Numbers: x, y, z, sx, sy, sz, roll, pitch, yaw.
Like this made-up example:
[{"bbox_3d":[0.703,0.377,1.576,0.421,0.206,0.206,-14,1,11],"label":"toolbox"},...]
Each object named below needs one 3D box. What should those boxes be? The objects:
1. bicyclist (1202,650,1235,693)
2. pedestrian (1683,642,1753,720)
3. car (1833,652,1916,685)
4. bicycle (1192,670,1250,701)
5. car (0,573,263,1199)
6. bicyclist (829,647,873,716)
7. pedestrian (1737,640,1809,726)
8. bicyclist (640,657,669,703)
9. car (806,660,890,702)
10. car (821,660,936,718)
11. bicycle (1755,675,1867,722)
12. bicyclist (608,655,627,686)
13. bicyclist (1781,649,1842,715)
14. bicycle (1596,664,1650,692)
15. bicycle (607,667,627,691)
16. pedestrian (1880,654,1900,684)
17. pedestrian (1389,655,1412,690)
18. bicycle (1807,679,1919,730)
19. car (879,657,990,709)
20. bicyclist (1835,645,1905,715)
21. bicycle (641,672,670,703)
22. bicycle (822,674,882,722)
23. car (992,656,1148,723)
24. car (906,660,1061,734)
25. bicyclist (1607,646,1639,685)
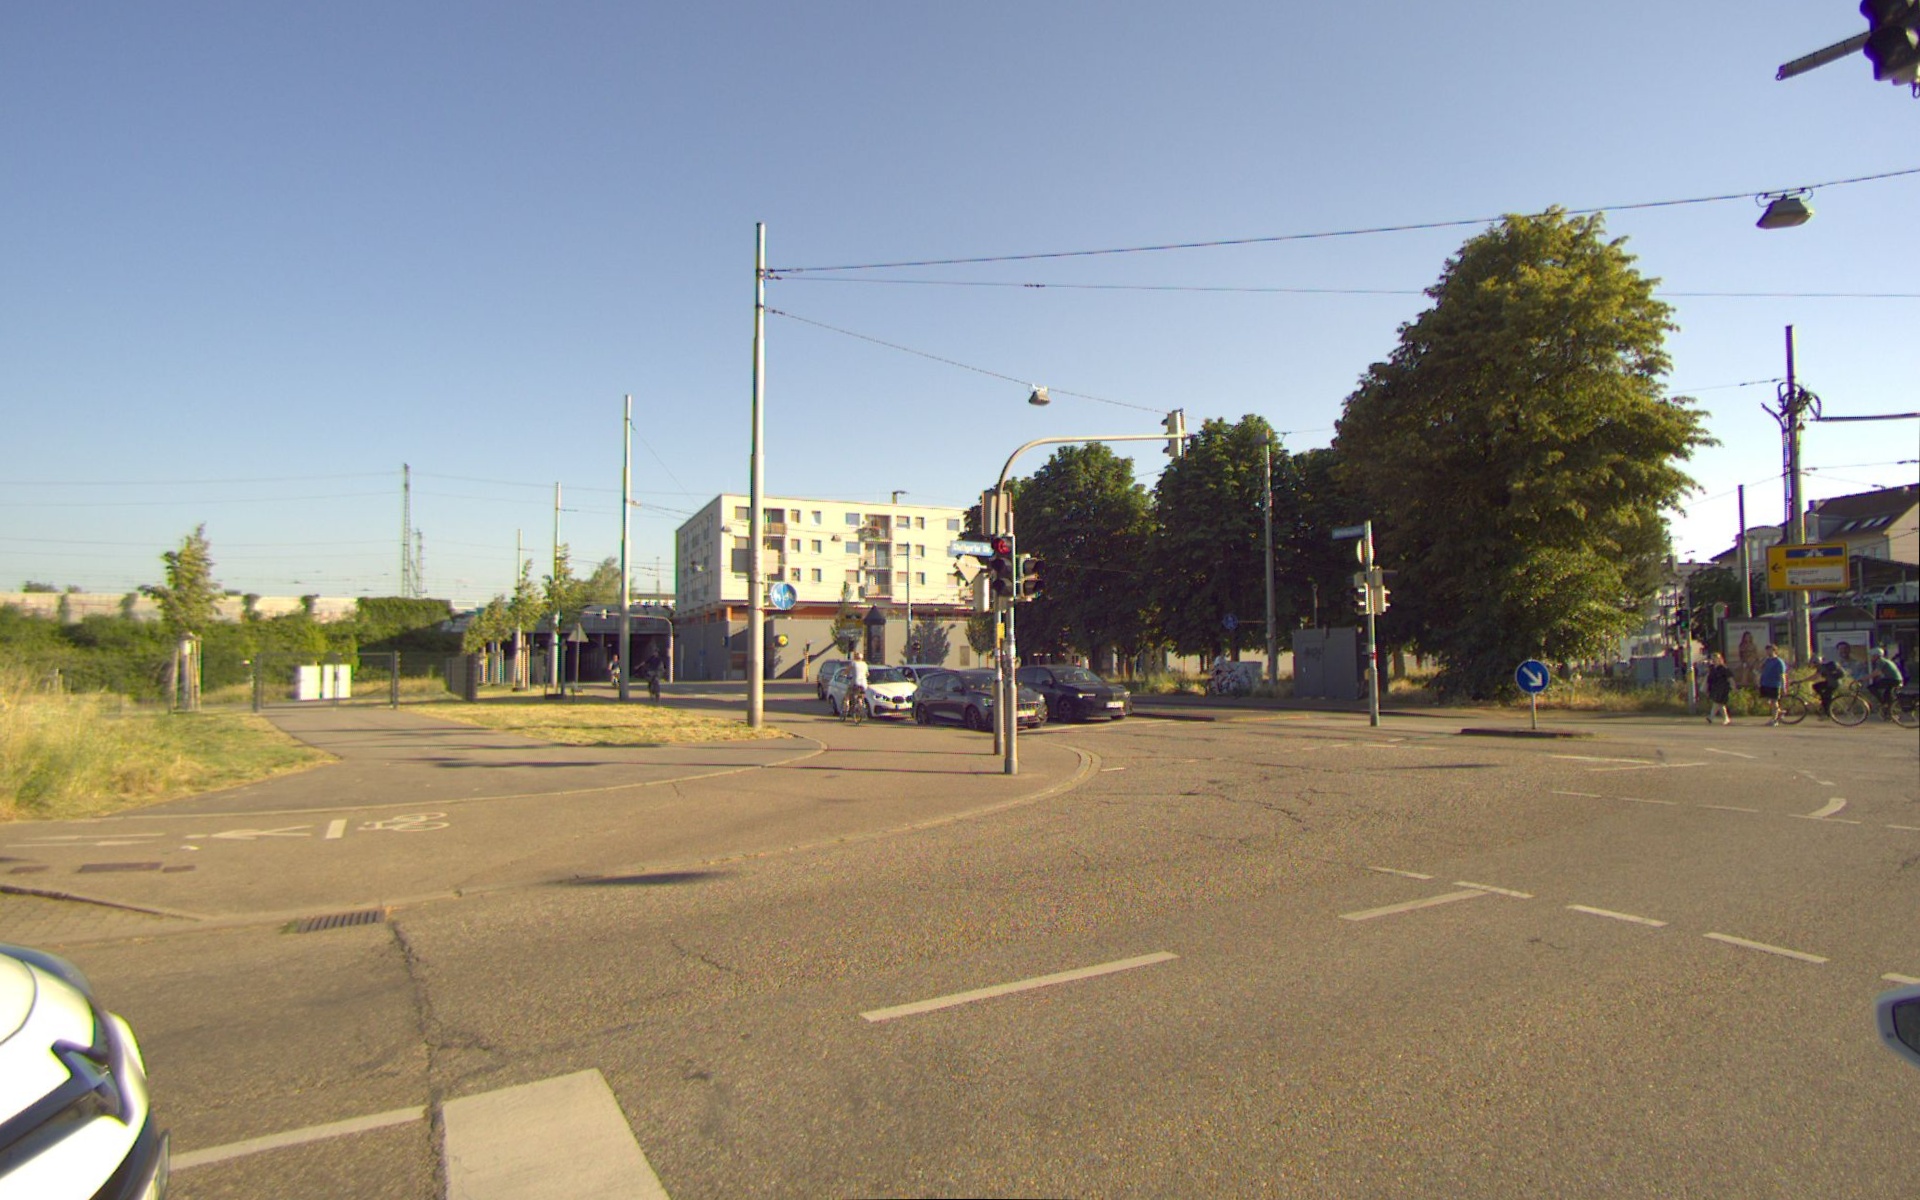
[{"bbox_3d":[10.072,2.784,39.173,0.708,1.650,1.030,2,-4,-39],"label":"bicyclist"},{"bbox_3d":[17.944,1.901,23.785,1.055,1.769,0.908,1,-4,-29],"label":"pedestrian"},{"bbox_3d":[59.354,4.435,65.341,2.017,1.987,5.153,-4,-4,19],"label":"car"},{"bbox_3d":[10.123,3.302,39.084,0.695,1.157,2.176,2,-4,-40],"label":"bicycle"},{"bbox_3d":[-3.060,0.715,1.005,3.733,1.488,1.692,2,-4,-32],"label":"car"},{"bbox_3d":[-2.615,1.941,24.132,0.768,1.626,0.850,1,-4,-32],"label":"bicyclist"},{"bbox_3d":[18.987,1.914,23.458,1.055,1.950,0.908,1,-4,-29],"label":"pedestrian"},{"bbox_3d":[-11.212,2.936,36.860,0.867,1.646,0.967,1,-3,-25],"label":"bicyclist"},{"bbox_3d":[-4.670,3.281,41.219,1.975,1.587,4.426,1,-4,-27],"label":"car"},{"bbox_3d":[-2.535,2.629,30.280,1.975,1.587,4.246,1,-4,-27],"label":"car"},{"bbox_3d":[20.701,2.380,24.456,0.659,1.083,1.993,3,-5,-43],"label":"bicycle"},{"bbox_3d":[-17.889,3.685,52.422,0.840,1.567,1.016,1,-4,-23],"label":"bicyclist"},{"bbox_3d":[20.708,1.983,24.430,0.656,1.552,1.024,3,-4,-44],"label":"bicyclist"},{"bbox_3d":[28.166,3.316,42.661,1.983,1.083,0.662,2,0,-10],"label":"bicycle"},{"bbox_3d":[-17.917,4.105,52.413,0.782,1.164,2.280,1,-4,-23],"label":"bicycle"},{"bbox_3d":[47.915,3.547,51.768,0.558,1.520,0.677,-2,-4,32],"label":"pedestrian"},{"bbox_3d":[24.386,4.026,55.613,0.676,1.896,0.942,1,-3,-17],"label":"pedestrian"},{"bbox_3d":[20.659,2.348,22.844,0.657,1.083,1.998,2,-4,-37],"label":"bicycle"},{"bbox_3d":[-0.938,2.727,33.651,1.975,1.587,4.426,1,-4,-27],"label":"car"},{"bbox_3d":[20.674,1.803,22.818,0.692,1.552,1.026,2,-4,-38],"label":"bicyclist"},{"bbox_3d":[-11.189,3.209,36.898,0.744,1.107,1.938,1,-4,-24],"label":"bicycle"},{"bbox_3d":[-2.615,2.327,24.120,0.656,1.083,2.002,1,-4,-31],"label":"bicycle"},{"bbox_3d":[2.772,2.280,26.405,2.027,1.587,4.423,1,-4,-26],"label":"car"},{"bbox_3d":[0.463,2.275,24.400,1.975,1.587,4.246,0,-3,-27],"label":"car"},{"bbox_3d":[28.179,2.781,42.711,0.871,1.673,0.669,0,-3,-11],"label":"bicyclist"}]
